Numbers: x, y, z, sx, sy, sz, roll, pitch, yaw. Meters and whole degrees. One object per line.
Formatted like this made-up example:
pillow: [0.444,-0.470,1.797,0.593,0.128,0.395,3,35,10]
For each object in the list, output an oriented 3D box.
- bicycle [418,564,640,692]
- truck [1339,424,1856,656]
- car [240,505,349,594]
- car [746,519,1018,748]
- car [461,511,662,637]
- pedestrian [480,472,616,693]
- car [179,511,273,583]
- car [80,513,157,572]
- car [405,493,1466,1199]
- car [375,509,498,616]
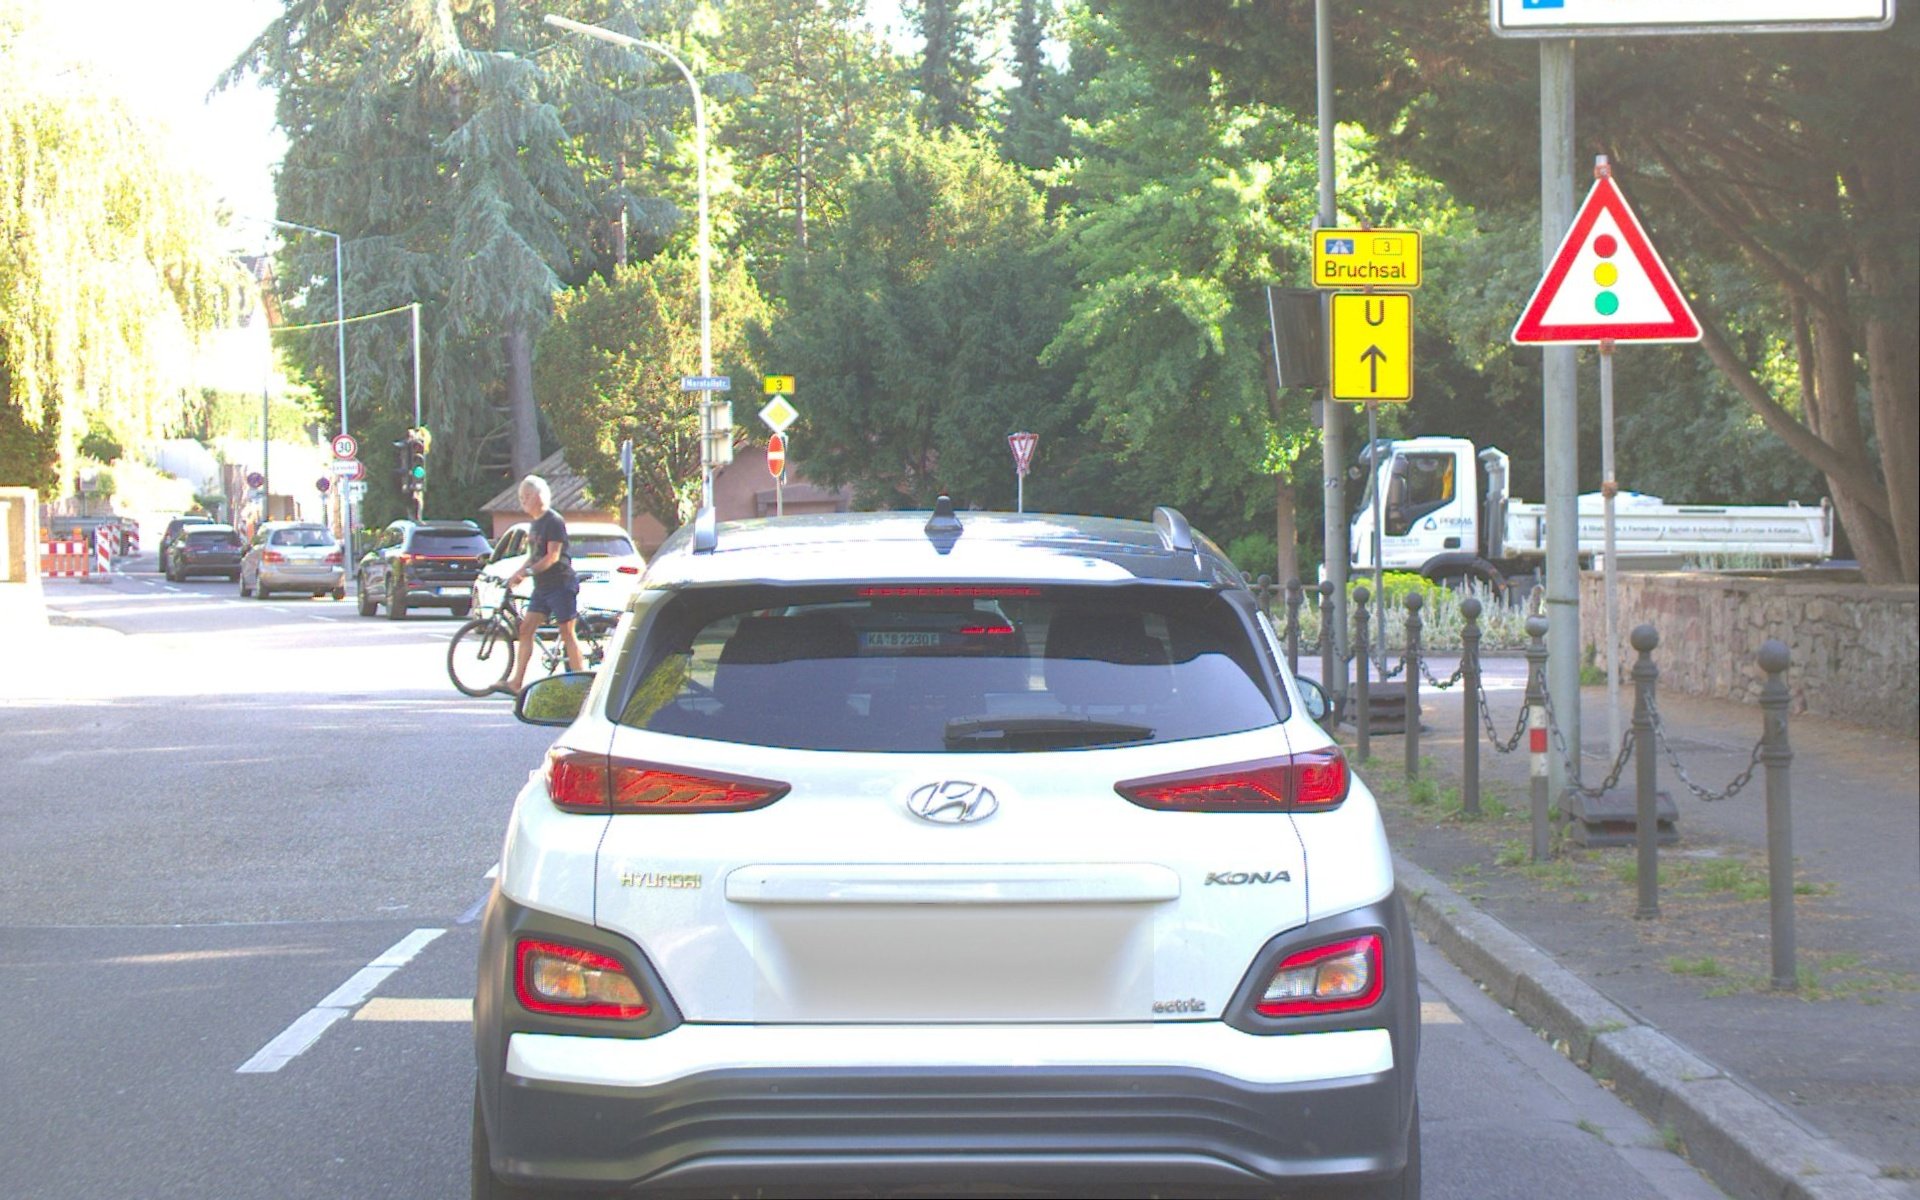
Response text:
bicycle: [-3.673,0.236,29.387,1.812,1.039,0.561,0,3,-37]
truck: [8.500,-0.820,46.458,6.588,2.885,2.433,1,1,5]
car: [-13.810,-1.068,71.205,1.831,1.735,4.001,1,1,-16]
car: [-0.524,0.166,24.215,1.708,1.429,4.365,1,1,-1]
car: [-5.306,-0.373,45.404,1.805,1.532,4.001,1,1,-19]
pedestrian: [-3.461,-0.148,28.878,0.940,1.820,0.554,0,2,-39]
car: [-17.958,-1.311,83.957,1.831,1.656,4.001,1,1,-18]
car: [-24.780,-1.708,101.184,1.831,1.656,4.001,1,1,-19]
car: [-0.077,0.568,7.953,1.820,1.568,4.000,1,1,-1]
car: [-8.583,-0.647,56.620,1.831,1.656,4.001,1,1,-7]
